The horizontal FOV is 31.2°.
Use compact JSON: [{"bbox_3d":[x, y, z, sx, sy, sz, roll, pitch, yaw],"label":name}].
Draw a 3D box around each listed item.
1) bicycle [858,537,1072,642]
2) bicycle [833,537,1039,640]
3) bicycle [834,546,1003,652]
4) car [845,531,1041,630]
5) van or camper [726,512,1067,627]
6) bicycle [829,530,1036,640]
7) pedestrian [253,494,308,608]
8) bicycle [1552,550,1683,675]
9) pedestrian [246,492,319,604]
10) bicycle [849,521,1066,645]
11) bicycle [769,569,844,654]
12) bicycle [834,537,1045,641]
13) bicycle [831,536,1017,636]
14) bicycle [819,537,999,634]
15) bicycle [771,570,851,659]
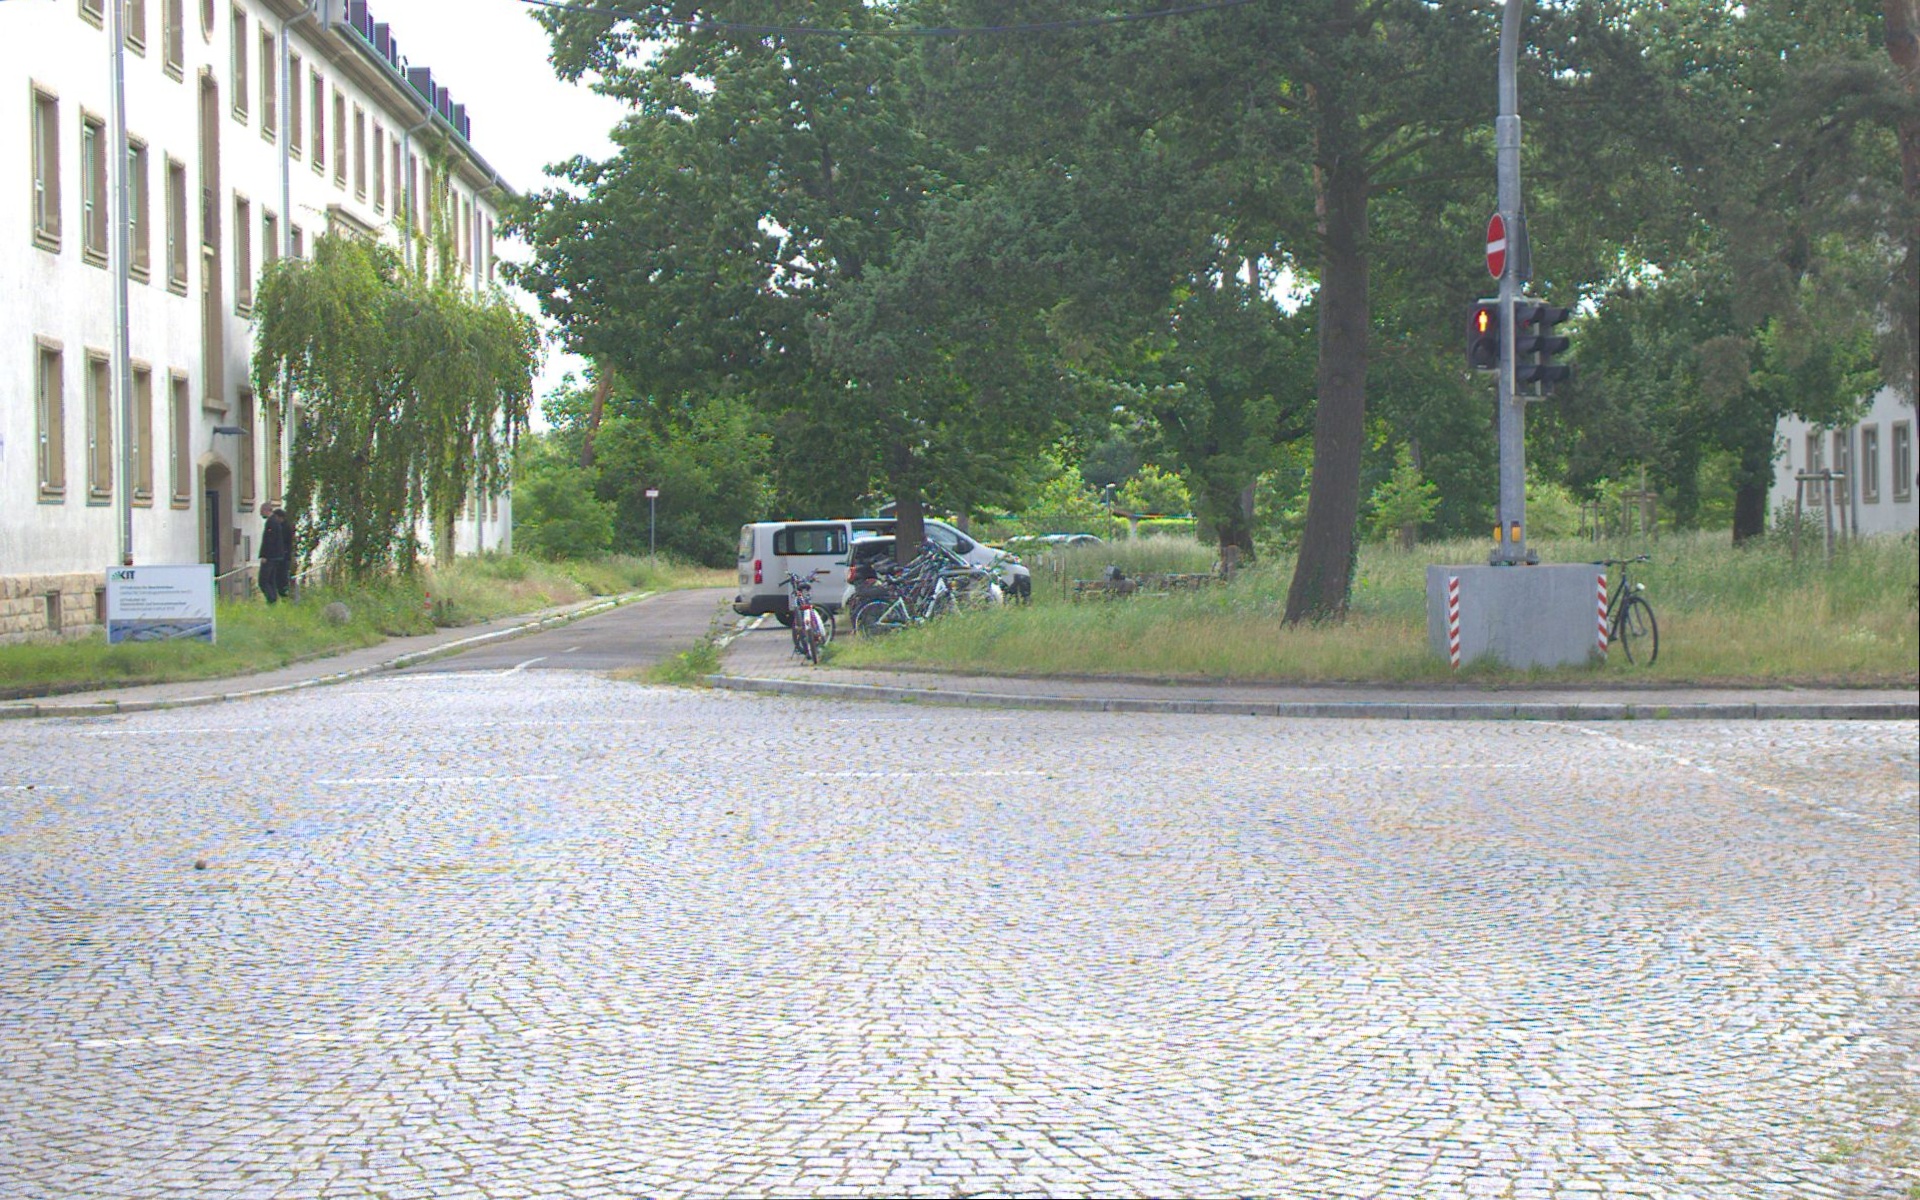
[{"bbox_3d":[0.055,-0.147,45.957,2.802,1.367,0.951,-1,1,-2],"label":"bicycle"},{"bbox_3d":[-0.346,-0.165,47.376,2.802,1.367,0.951,-1,1,-2],"label":"bicycle"},{"bbox_3d":[-0.534,-0.020,43.533,2.113,1.302,0.874,-1,1,-2],"label":"bicycle"},{"bbox_3d":[-0.308,-0.338,58.149,3.224,1.615,1.938,1,0,-2],"label":"car"},{"bbox_3d":[-1.161,-0.558,61.640,5.740,1.950,2.238,-1,1,-14],"label":"van or camper"},{"bbox_3d":[-0.365,-0.199,44.146,2.619,1.362,0.874,-1,1,-2],"label":"bicycle"},{"bbox_3d":[-11.713,-0.839,59.248,0.865,1.925,0.837,1,0,-13],"label":"pedestrian"},{"bbox_3d":[6.019,0.098,31.577,0.644,1.059,1.834,-4,1,-5],"label":"bicycle"},{"bbox_3d":[-11.522,-0.875,58.420,1.194,1.863,1.550,0,0,-12],"label":"pedestrian"},{"bbox_3d":[-0.046,-0.233,45.023,2.802,1.578,0.951,-1,1,-2],"label":"bicycle"},{"bbox_3d":[-1.878,0.133,42.218,0.727,0.993,1.979,-1,1,3],"label":"bicycle"},{"bbox_3d":[-0.289,-0.155,46.484,2.802,1.367,0.951,-1,1,-2],"label":"bicycle"},{"bbox_3d":[-0.523,-0.204,48.336,2.567,1.367,0.951,-1,1,-3],"label":"bicycle"},{"bbox_3d":[-0.753,-0.223,50.009,2.567,1.367,0.951,-1,1,-3],"label":"bicycle"},{"bbox_3d":[-1.737,0.154,40.128,0.900,0.993,1.979,-1,1,-2],"label":"bicycle"}]
